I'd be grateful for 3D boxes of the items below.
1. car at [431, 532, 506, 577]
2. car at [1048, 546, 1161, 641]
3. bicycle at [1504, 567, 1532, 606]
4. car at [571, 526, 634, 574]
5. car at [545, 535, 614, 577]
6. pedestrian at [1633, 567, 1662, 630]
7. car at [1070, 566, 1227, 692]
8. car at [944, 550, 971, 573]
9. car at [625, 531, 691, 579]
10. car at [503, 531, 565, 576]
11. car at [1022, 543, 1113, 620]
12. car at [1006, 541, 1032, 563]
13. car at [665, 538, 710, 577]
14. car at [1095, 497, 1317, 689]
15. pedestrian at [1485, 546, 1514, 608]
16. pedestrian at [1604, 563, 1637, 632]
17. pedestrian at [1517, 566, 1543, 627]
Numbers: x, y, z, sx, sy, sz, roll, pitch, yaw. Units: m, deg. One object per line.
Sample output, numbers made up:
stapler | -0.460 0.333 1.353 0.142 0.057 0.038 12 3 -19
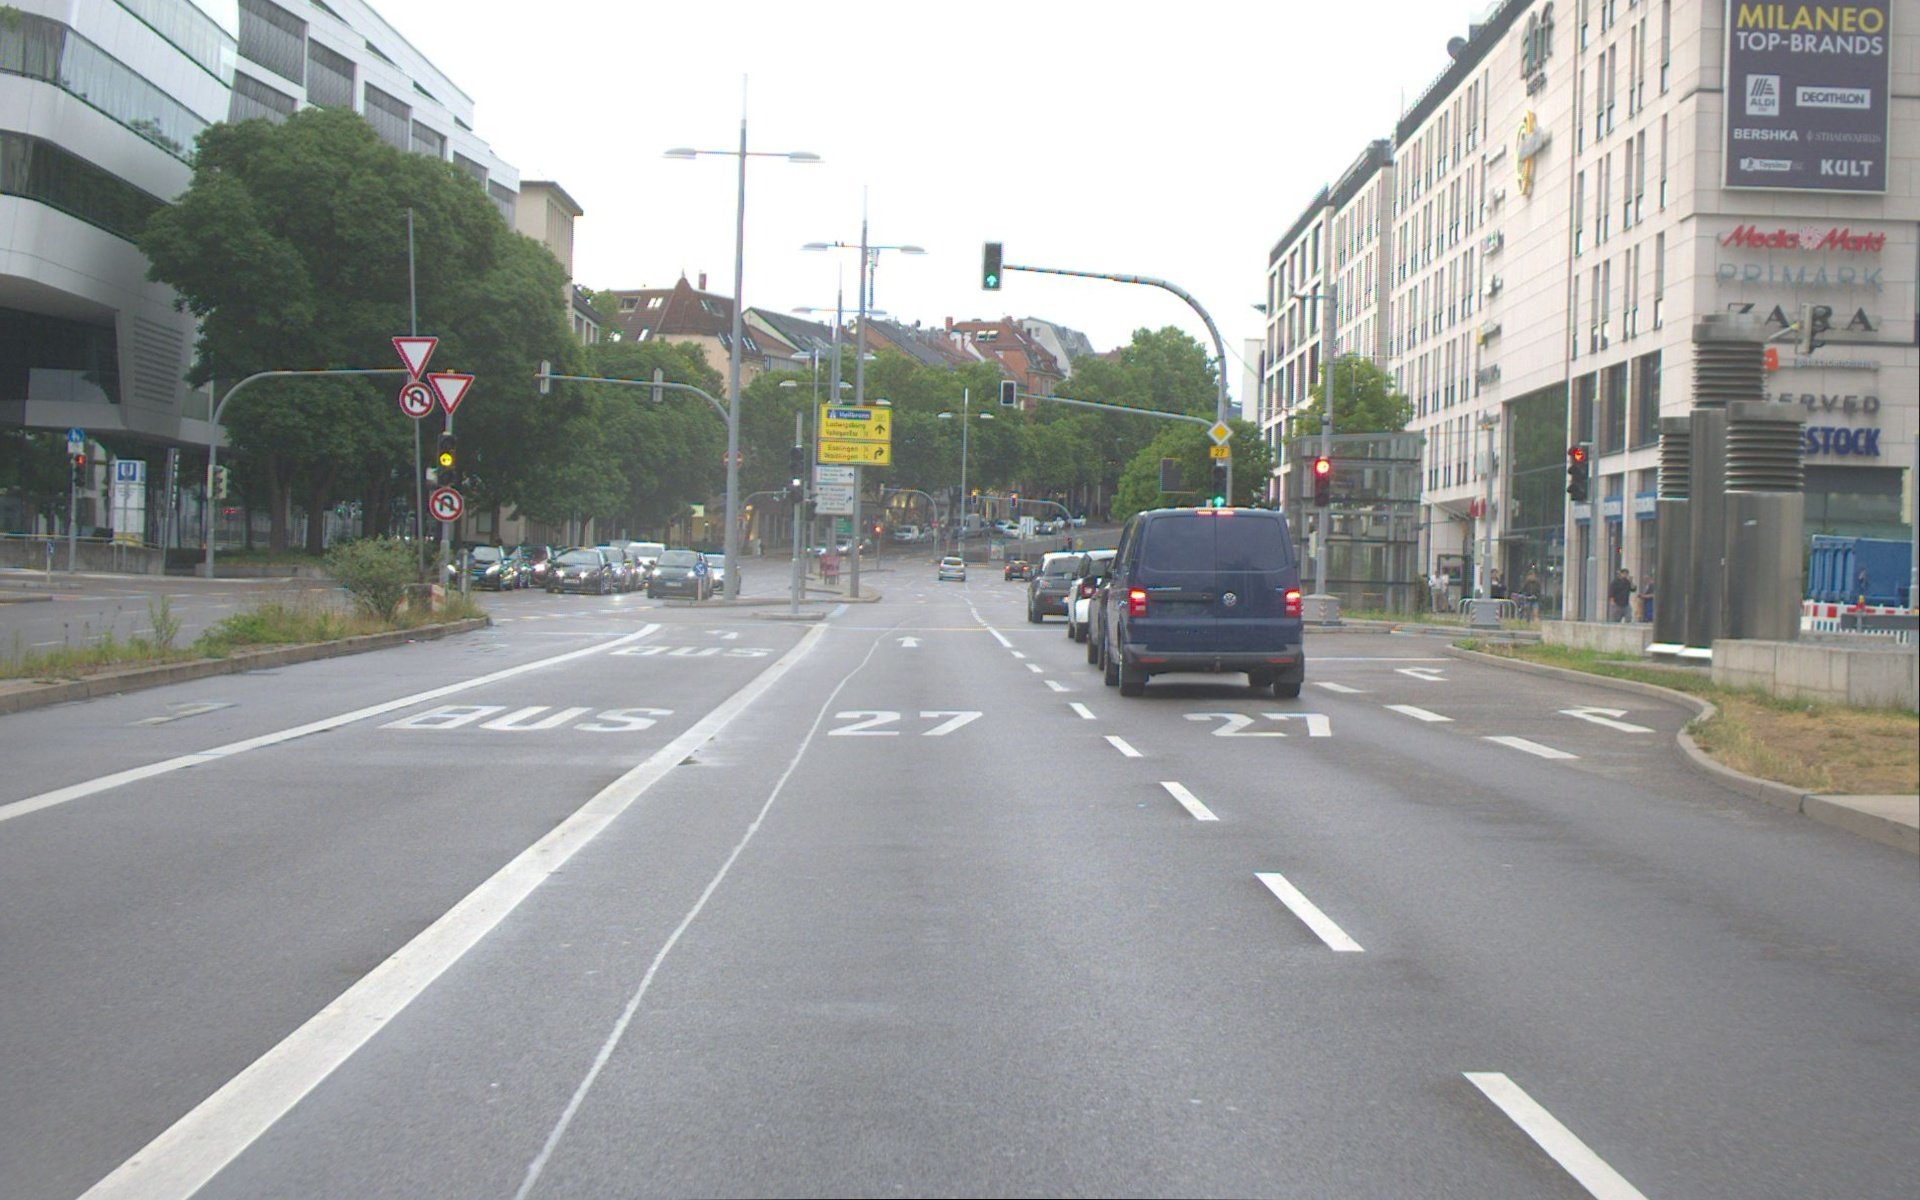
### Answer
car | -15.398 -1.416 107.939 1.743 1.324 4.226 1 0 0
car | 2.400 -0.118 57.902 1.724 1.526 3.814 1 0 0
bicycle | 14.685 -0.362 90.473 0.449 1.012 1.742 1 0 0
car | -12.063 -1.691 116.233 1.743 1.553 3.539 1 0 0
car | -12.042 -1.400 108.906 1.743 1.253 3.540 2 1 0
pedestrian | 17.781 -0.040 88.904 0.594 1.636 0.587 1 0 25
car | 2.446 0.345 45.494 1.791 1.501 4.339 1 1 0
car | -0.167 -2.630 234.118 1.740 1.526 3.814 1 1 -1
car | -9.425 -1.396 107.605 1.743 1.439 3.395 1 0 0
car | -15.052 -1.631 121.661 1.743 1.553 3.539 1 0 0
car | 2.222 -0.386 71.847 1.740 1.526 3.814 1 0 0
car | 4.223 -3.420 246.780 1.740 1.526 3.814 1 0 0
car | -12.397 -1.917 156.646 1.743 1.742 3.539 1 0 0
car | 2.586 -0.146 37.318 2.033 1.875 5.042 -2 2 0
pedestrian | 14.187 -0.600 90.409 0.612 1.605 0.819 1 0 0
pedestrian | 16.166 -0.070 84.172 0.621 1.666 0.824 1 0 0
pedestrian | 14.990 -0.096 90.394 0.550 1.605 0.698 1 0 0
